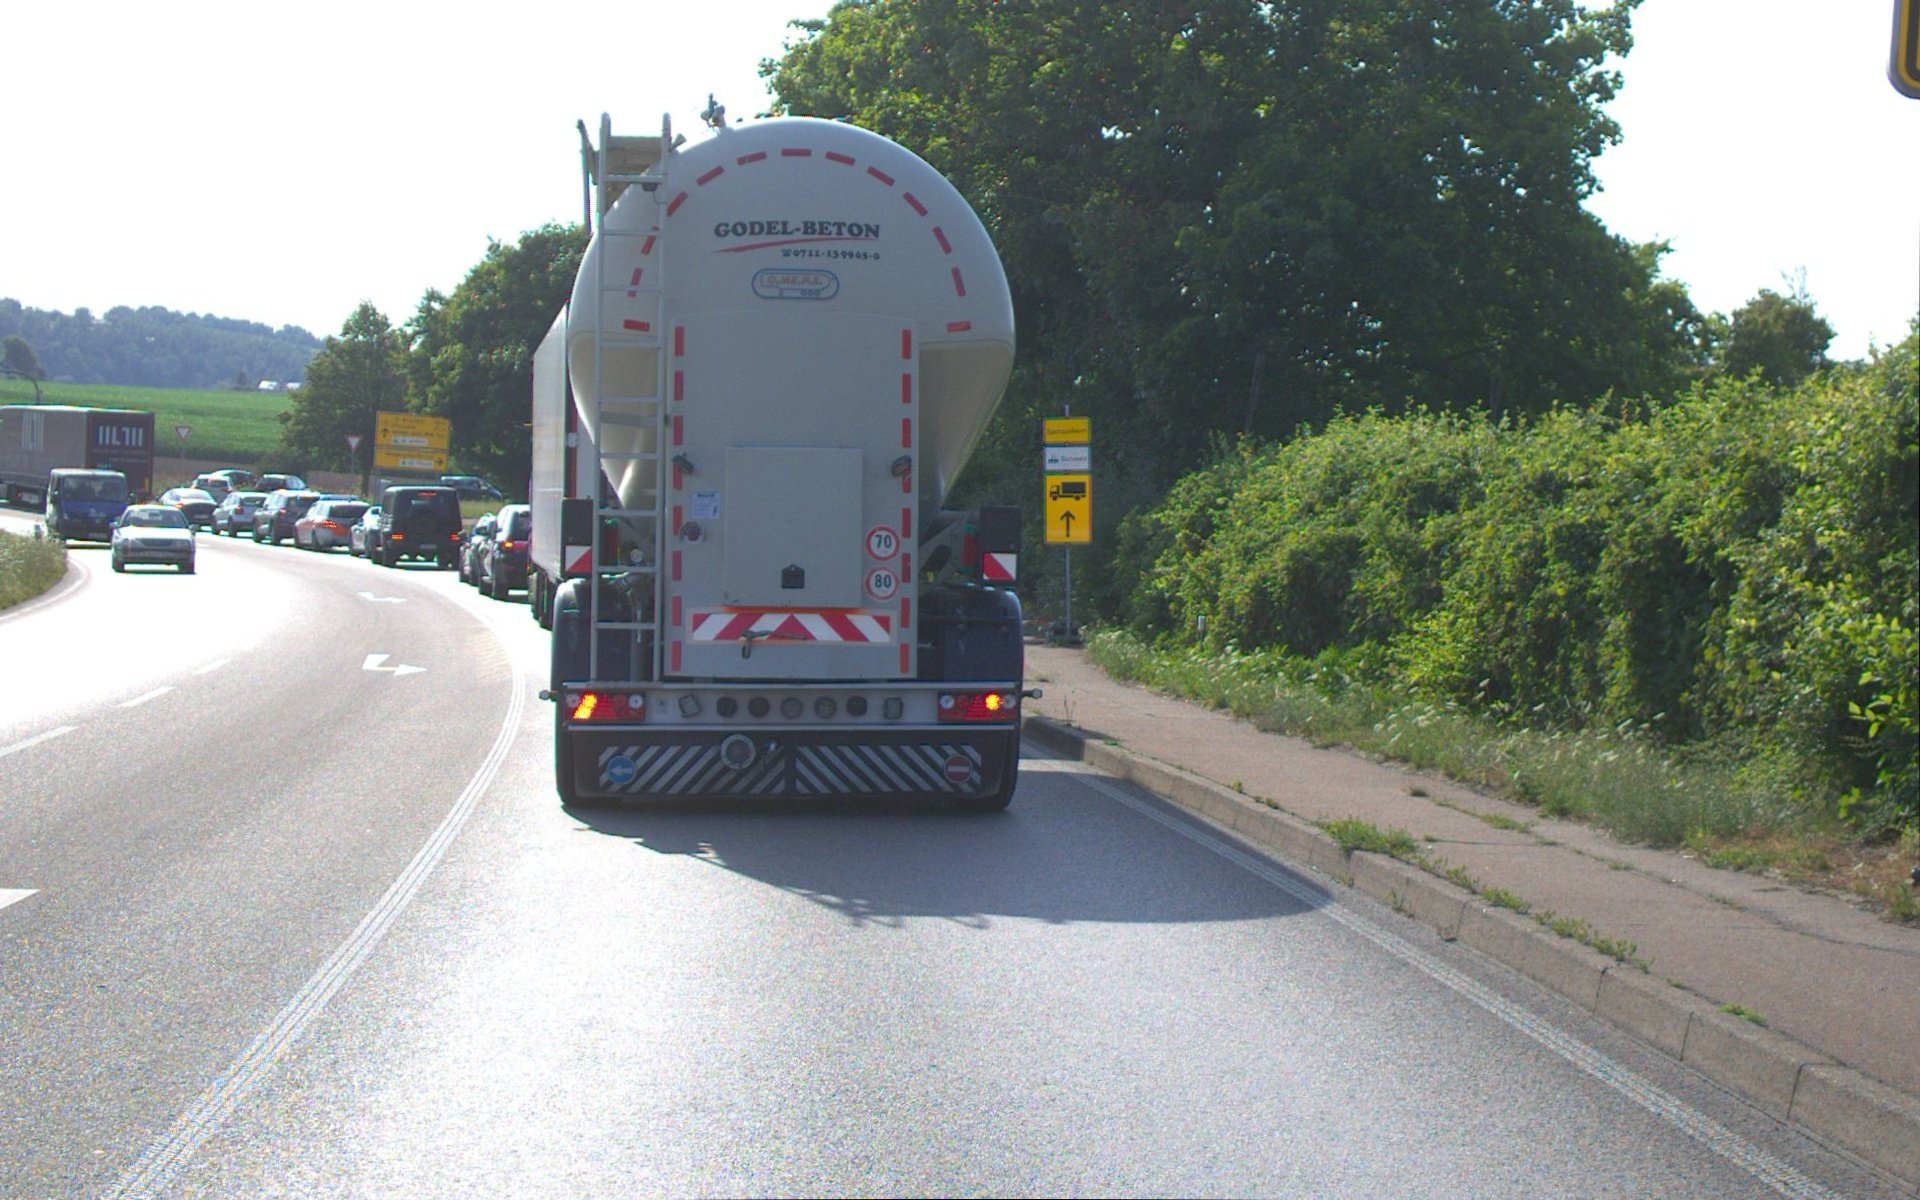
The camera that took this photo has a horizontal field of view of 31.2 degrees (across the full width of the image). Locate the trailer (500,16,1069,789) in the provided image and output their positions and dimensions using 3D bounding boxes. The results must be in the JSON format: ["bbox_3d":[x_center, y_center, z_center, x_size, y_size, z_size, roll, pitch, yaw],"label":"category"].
[{"bbox_3d":[-1.321,-1.133,22.969,2.909,3.992,9.932,1,1,-5],"label":"trailer"}]

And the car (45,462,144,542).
[{"bbox_3d":[-24.280,-2.746,96.331,1.997,2.129,4.780,1,1,-22],"label":"car"}]

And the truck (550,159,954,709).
[{"bbox_3d":[-1.691,-1.257,27.367,2.909,3.992,4.060,1,1,-5],"label":"truck"}]

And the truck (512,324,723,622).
[{"bbox_3d":[-5.249,-1.939,53.317,2.951,4.288,4.932,2,1,-4],"label":"truck"}]

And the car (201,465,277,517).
[{"bbox_3d":[-29.567,-4.469,140.873,1.993,2.006,4.001,0,3,-28],"label":"car"}]

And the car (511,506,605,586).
[{"bbox_3d":[-7.313,-0.994,62.315,1.580,1.336,3.426,2,1,-8],"label":"car"}]

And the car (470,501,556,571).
[{"bbox_3d":[-9.209,-1.340,70.681,1.580,1.336,3.426,2,1,-10],"label":"car"}]

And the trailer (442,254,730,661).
[{"bbox_3d":[-4.590,-1.730,44.476,2.954,4.300,14.178,2,1,-4],"label":"trailer"}]

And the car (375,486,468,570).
[{"bbox_3d":[-13.301,-1.796,84.822,1.861,2.007,3.720,1,2,-15],"label":"car"}]

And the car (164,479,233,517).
[{"bbox_3d":[-26.362,-3.545,119.011,1.769,1.201,3.427,2,1,-22],"label":"car"}]

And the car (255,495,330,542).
[{"bbox_3d":[-20.360,-2.490,104.746,1.580,1.336,3.427,2,1,-22],"label":"car"}]

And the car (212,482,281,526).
[{"bbox_3d":[-23.408,-3.154,112.735,1.580,1.336,3.427,2,1,-22],"label":"car"}]

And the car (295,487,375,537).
[{"bbox_3d":[-17.974,-2.535,98.812,1.580,1.336,3.427,2,1,-22],"label":"car"}]

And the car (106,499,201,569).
[{"bbox_3d":[-17.490,-1.439,74.687,1.706,1.423,4.179,1,1,-10],"label":"car"}]

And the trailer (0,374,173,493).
[{"bbox_3d":[-34.675,-6.545,135.858,3.375,4.335,14.297,2,1,-27],"label":"trailer"}]

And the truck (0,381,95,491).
[{"bbox_3d":[-38.465,-6.800,143.146,3.375,4.335,5.707,2,1,-27],"label":"truck"}]
